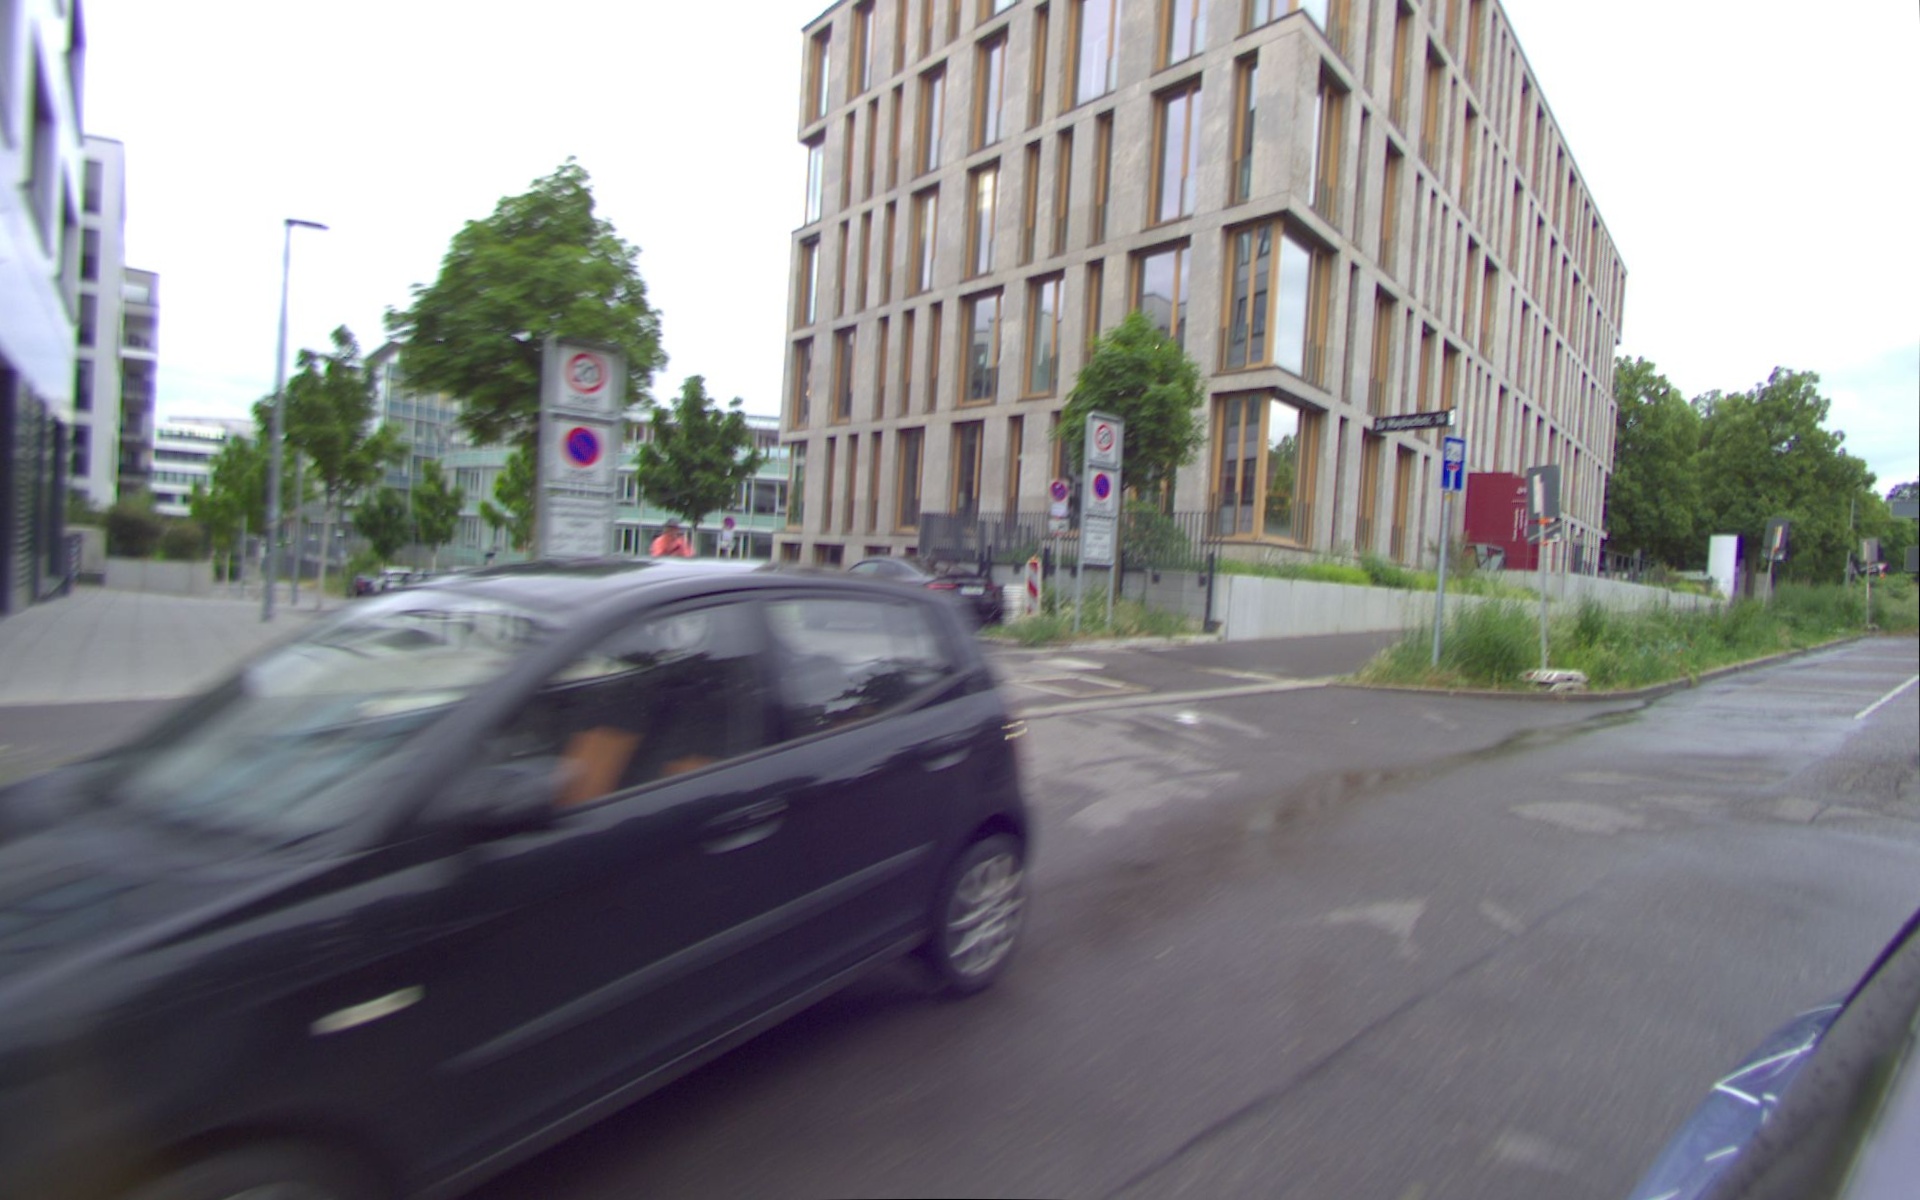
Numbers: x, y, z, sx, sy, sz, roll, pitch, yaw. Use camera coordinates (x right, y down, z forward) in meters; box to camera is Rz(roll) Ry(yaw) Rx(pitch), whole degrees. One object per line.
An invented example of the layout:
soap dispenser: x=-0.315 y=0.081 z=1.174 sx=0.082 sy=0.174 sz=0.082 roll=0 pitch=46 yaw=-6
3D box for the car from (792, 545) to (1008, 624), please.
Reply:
car: x=-1.196 y=-0.357 z=18.281 sx=1.699 sy=1.260 sz=4.238 roll=-2 pitch=3 yaw=-41

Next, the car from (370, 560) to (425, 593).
car: x=-30.817 y=-1.302 z=55.386 sx=1.964 sy=1.660 sz=3.997 roll=0 pitch=3 yaw=-39

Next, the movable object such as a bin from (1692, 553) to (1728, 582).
movable object such as a bin: x=38.413 y=-1.661 z=51.857 sx=1.091 sy=1.476 sz=1.249 roll=-2 pitch=1 yaw=-39

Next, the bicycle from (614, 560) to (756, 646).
bicycle: x=-3.722 y=-0.004 z=13.533 sx=2.474 sy=1.033 sz=0.616 roll=3 pitch=3 yaw=43

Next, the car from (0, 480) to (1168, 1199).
car: x=-1.205 y=0.487 z=3.217 sx=2.041 sy=1.476 sz=3.998 roll=3 pitch=3 yaw=39

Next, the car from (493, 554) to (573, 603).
car: x=-14.918 y=-0.782 z=35.244 sx=1.591 sy=1.522 sz=3.618 roll=0 pitch=3 yaw=-39

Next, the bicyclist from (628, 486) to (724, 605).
bicyclist: x=-3.816 y=-0.728 z=13.571 sx=1.073 sy=1.521 sz=0.827 roll=3 pitch=3 yaw=45

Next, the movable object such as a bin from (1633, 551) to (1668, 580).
movable object such as a bin: x=36.769 y=-1.838 z=53.867 sx=1.364 sy=1.522 sz=1.198 roll=-2 pitch=4 yaw=-42

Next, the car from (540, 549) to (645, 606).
car: x=-11.284 y=-0.723 z=30.954 sx=1.825 sy=1.551 sz=3.841 roll=0 pitch=3 yaw=-39

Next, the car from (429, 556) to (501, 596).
car: x=-21.277 y=-1.052 z=43.467 sx=1.911 sy=1.504 sz=3.997 roll=0 pitch=3 yaw=-39
